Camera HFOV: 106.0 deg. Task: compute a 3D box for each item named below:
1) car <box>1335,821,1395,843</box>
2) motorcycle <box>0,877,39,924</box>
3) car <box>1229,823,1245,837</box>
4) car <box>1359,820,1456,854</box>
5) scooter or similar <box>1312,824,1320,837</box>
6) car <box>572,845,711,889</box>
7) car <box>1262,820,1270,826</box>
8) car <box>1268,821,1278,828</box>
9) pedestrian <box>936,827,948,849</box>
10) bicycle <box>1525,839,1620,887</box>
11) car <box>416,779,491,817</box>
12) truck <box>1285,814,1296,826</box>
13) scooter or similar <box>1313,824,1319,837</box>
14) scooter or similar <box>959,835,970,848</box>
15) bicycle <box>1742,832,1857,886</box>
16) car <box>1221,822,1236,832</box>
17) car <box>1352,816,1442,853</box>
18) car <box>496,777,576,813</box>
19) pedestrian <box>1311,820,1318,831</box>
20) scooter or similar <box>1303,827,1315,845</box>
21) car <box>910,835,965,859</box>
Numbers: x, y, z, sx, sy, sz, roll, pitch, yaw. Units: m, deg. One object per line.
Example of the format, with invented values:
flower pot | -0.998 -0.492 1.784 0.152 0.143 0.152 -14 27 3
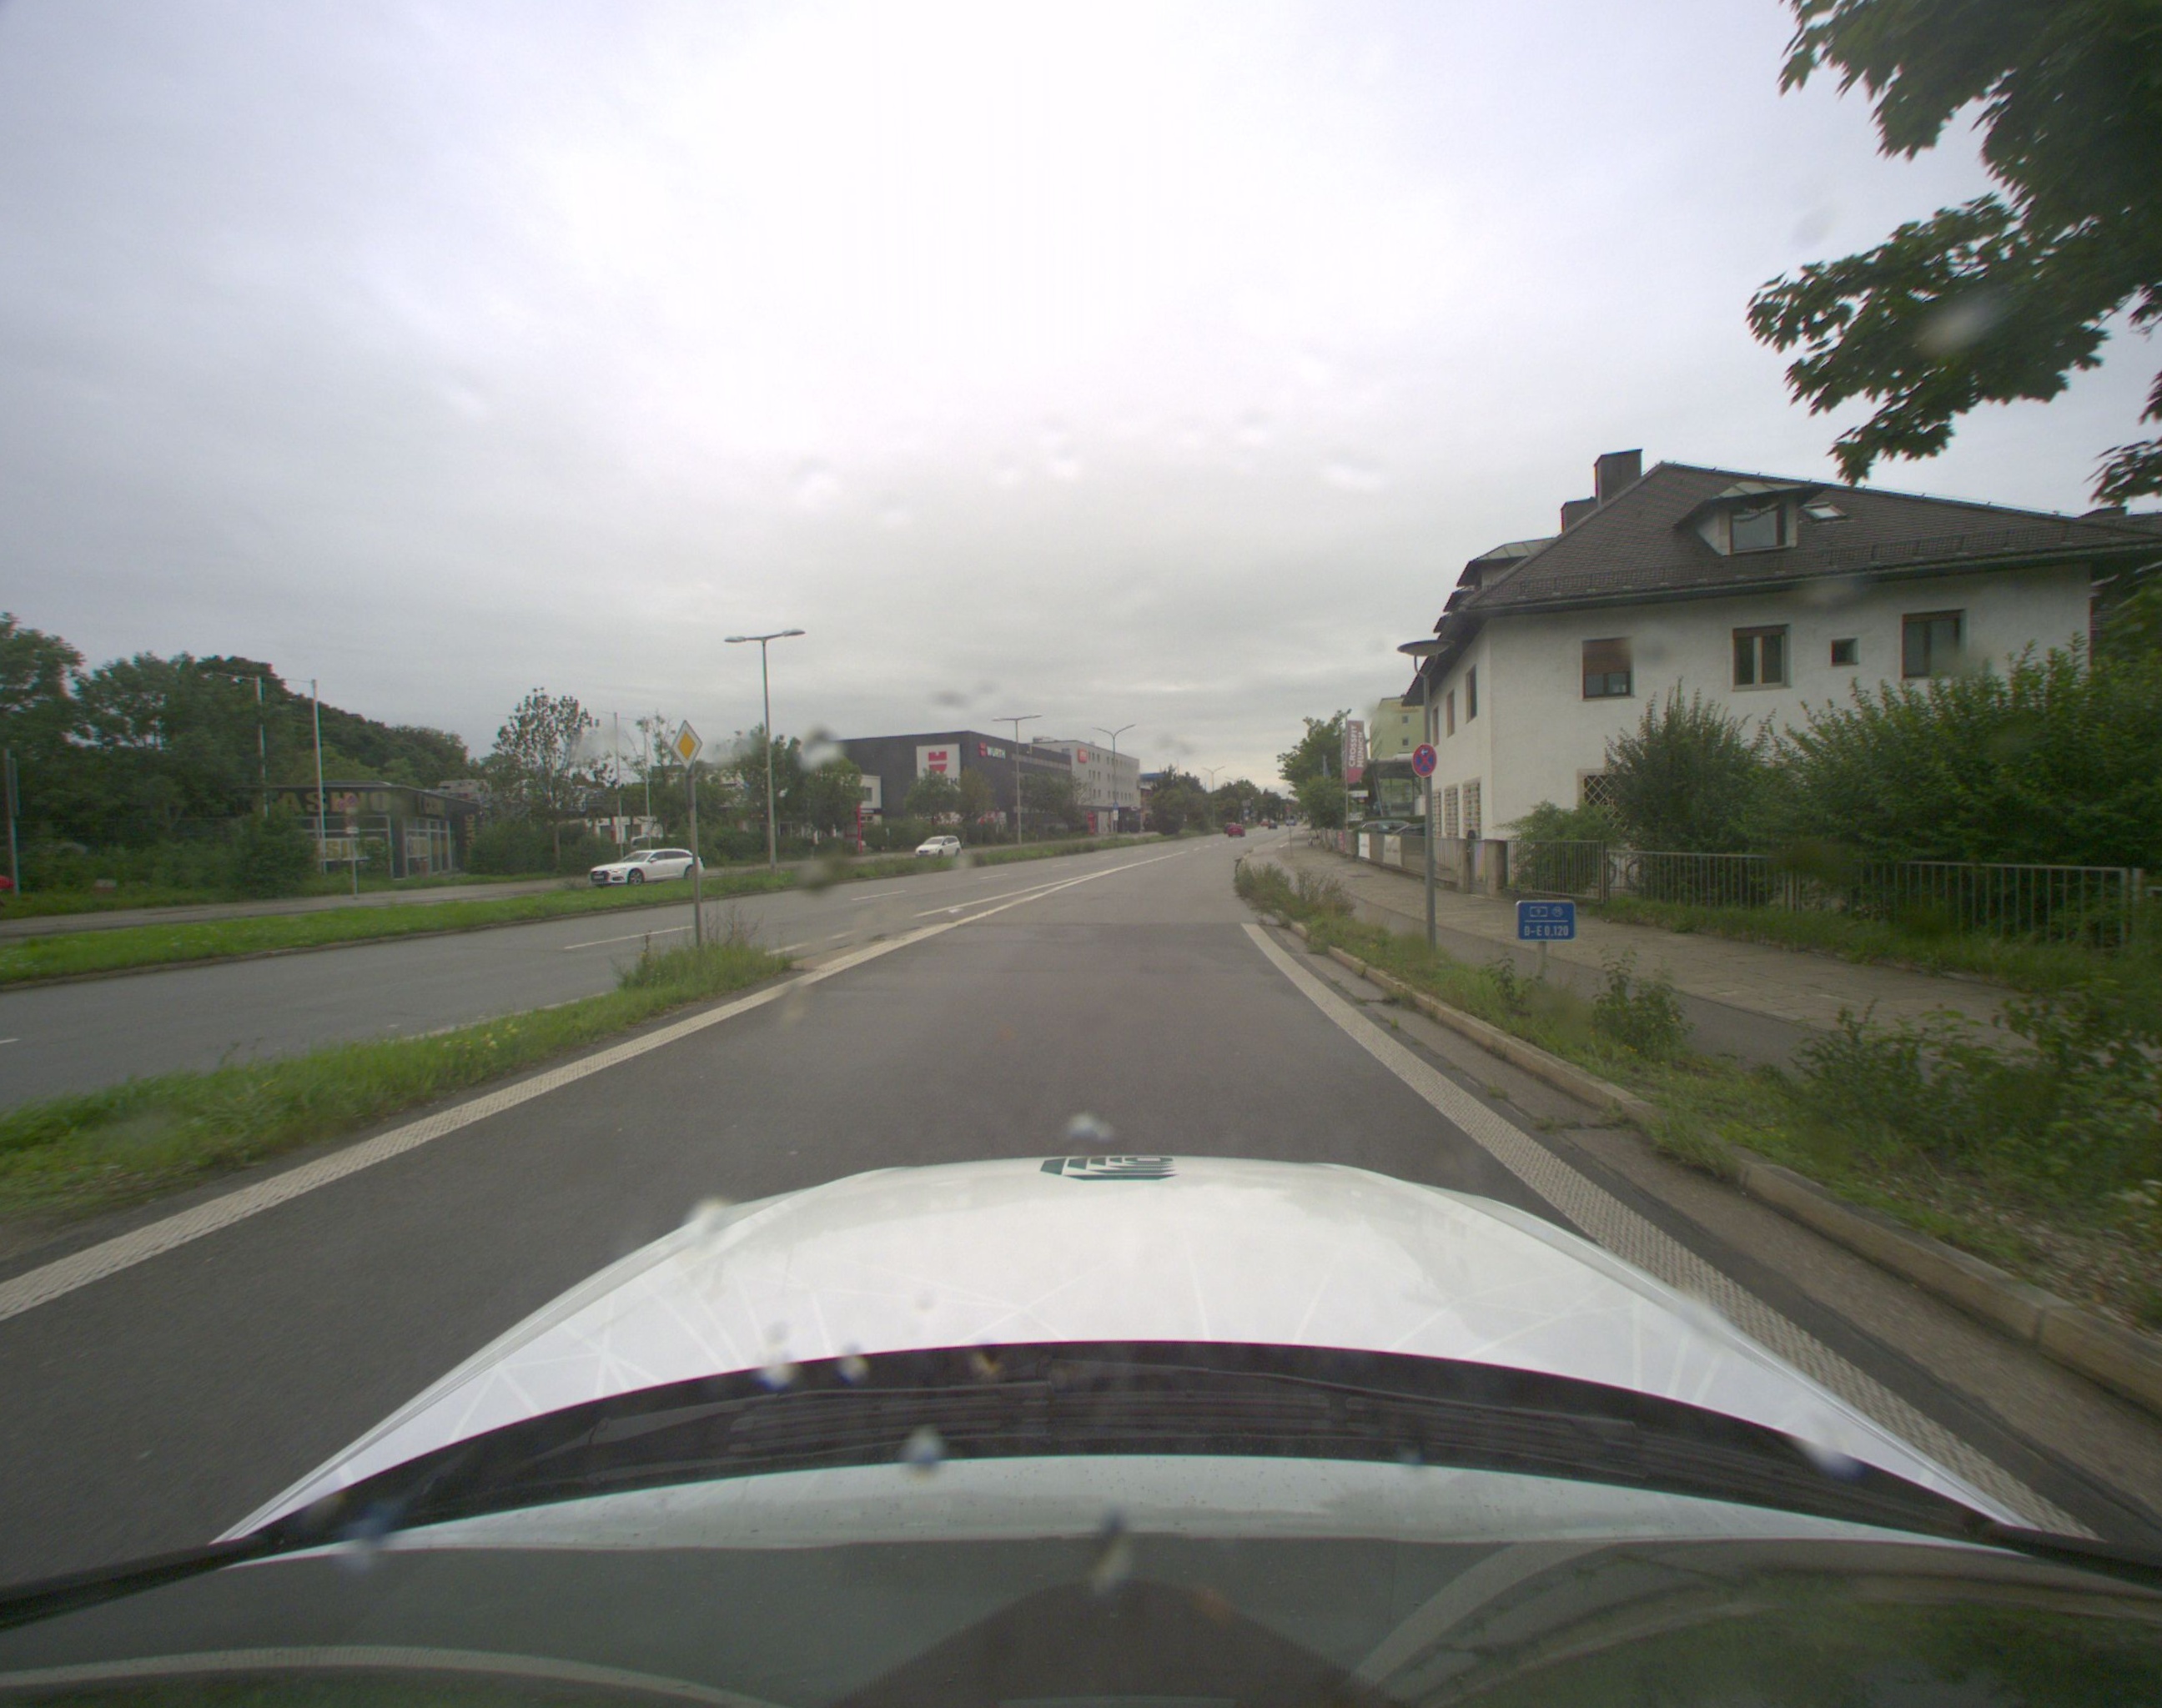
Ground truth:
car | 20.467 -1.610 58.739 3.983 1.460 1.801 -1 2 16
motorcycle | -28.597 1.256 20.897 0.529 1.176 2.205 -1 1 16
car | 19.834 -3.068 103.493 1.849 1.617 4.016 -1 2 14
car | 15.330 -0.810 38.439 4.066 1.450 1.935 -1 2 15
scooter or similar | 22.686 -2.230 78.643 0.493 1.204 1.433 -4 1 7
car | -18.233 0.498 34.114 1.978 1.572 5.143 -2 1 17
car | 49.395 -8.264 217.489 1.790 1.432 4.017 -1 2 15
car | 39.242 -6.058 166.717 1.790 1.432 4.017 -1 2 15
pedestrian | -12.175 -1.395 71.437 0.617 1.829 0.821 -1 2 17
bicycle | 11.325 0.199 18.816 1.831 1.069 0.475 -1 2 14
car | -48.203 -4.267 62.542 4.744 2.370 2.144 -3 -2 17
truck | 59.254 -9.537 230.163 2.947 3.285 7.949 -1 2 15
scooter or similar | 23.291 -2.314 80.744 0.492 1.204 1.436 -4 2 14
scooter or similar | -11.085 -1.186 77.381 0.442 1.227 1.393 -1 2 15
bicycle | 15.315 0.112 17.386 1.831 1.112 0.475 -1 2 14
car | 22.159 -4.010 121.972 1.790 1.432 4.017 -1 2 15
car | 15.899 -0.993 41.204 4.066 1.725 1.935 -1 2 15
car | -38.849 -4.162 58.098 4.744 2.014 2.144 -3 -2 17
pedestrian | 37.368 -4.607 130.418 0.753 1.728 0.898 -6 1 11
scooter or similar | 16.340 -1.266 58.436 0.395 1.223 1.642 -4 1 4
car | -10.279 -0.526 58.655 1.978 1.572 4.595 -2 1 17
